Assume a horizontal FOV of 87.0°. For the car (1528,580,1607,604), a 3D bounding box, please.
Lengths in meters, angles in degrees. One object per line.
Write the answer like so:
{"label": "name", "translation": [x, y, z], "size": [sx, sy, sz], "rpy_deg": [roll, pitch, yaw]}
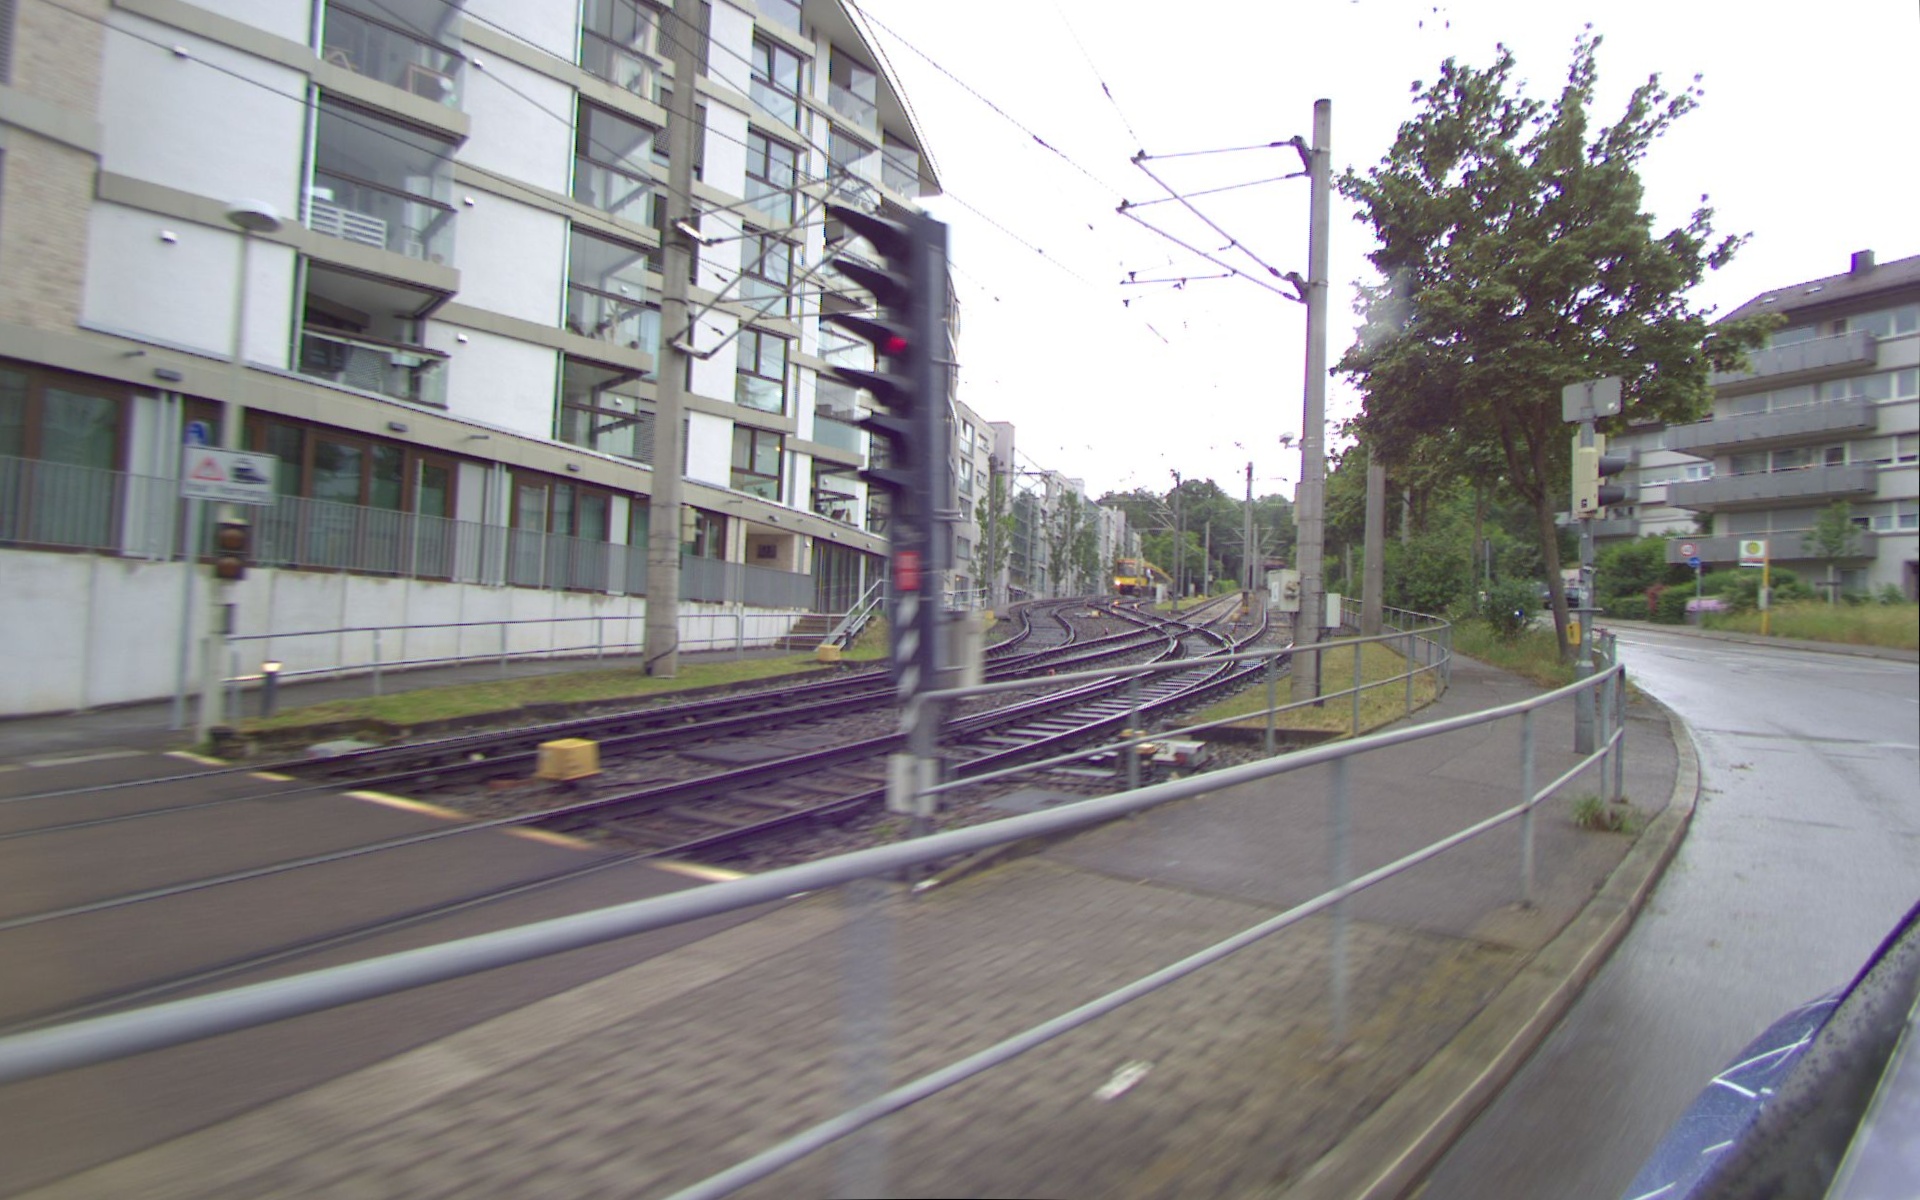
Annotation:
{"label": "car", "translation": [42.712, -0.556, 71.209], "size": [4.382, 1.546, 1.766], "rpy_deg": [2, 2, 16]}

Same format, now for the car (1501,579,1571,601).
{"label": "car", "translation": [44.675, -0.784, 78.578], "size": [4.386, 1.546, 1.764], "rpy_deg": [2, 2, 19]}

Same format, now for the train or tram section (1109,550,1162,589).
{"label": "train or tram section", "translation": [17.876, -3.048, 102.162], "size": [3.165, 3.605, 14.421], "rpy_deg": [2, 2, 18]}

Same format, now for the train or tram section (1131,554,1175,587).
{"label": "train or tram section", "translation": [22.258, -3.351, 115.948], "size": [3.075, 3.541, 14.773], "rpy_deg": [2, 2, 18]}

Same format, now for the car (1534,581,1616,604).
{"label": "car", "translation": [41.887, -0.515, 68.995], "size": [4.442, 1.508, 1.837], "rpy_deg": [1, 2, 19]}

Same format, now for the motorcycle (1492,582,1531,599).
{"label": "motorcycle", "translation": [45.991, -0.804, 84.440], "size": [2.792, 1.288, 1.264], "rpy_deg": [2, 2, 34]}
